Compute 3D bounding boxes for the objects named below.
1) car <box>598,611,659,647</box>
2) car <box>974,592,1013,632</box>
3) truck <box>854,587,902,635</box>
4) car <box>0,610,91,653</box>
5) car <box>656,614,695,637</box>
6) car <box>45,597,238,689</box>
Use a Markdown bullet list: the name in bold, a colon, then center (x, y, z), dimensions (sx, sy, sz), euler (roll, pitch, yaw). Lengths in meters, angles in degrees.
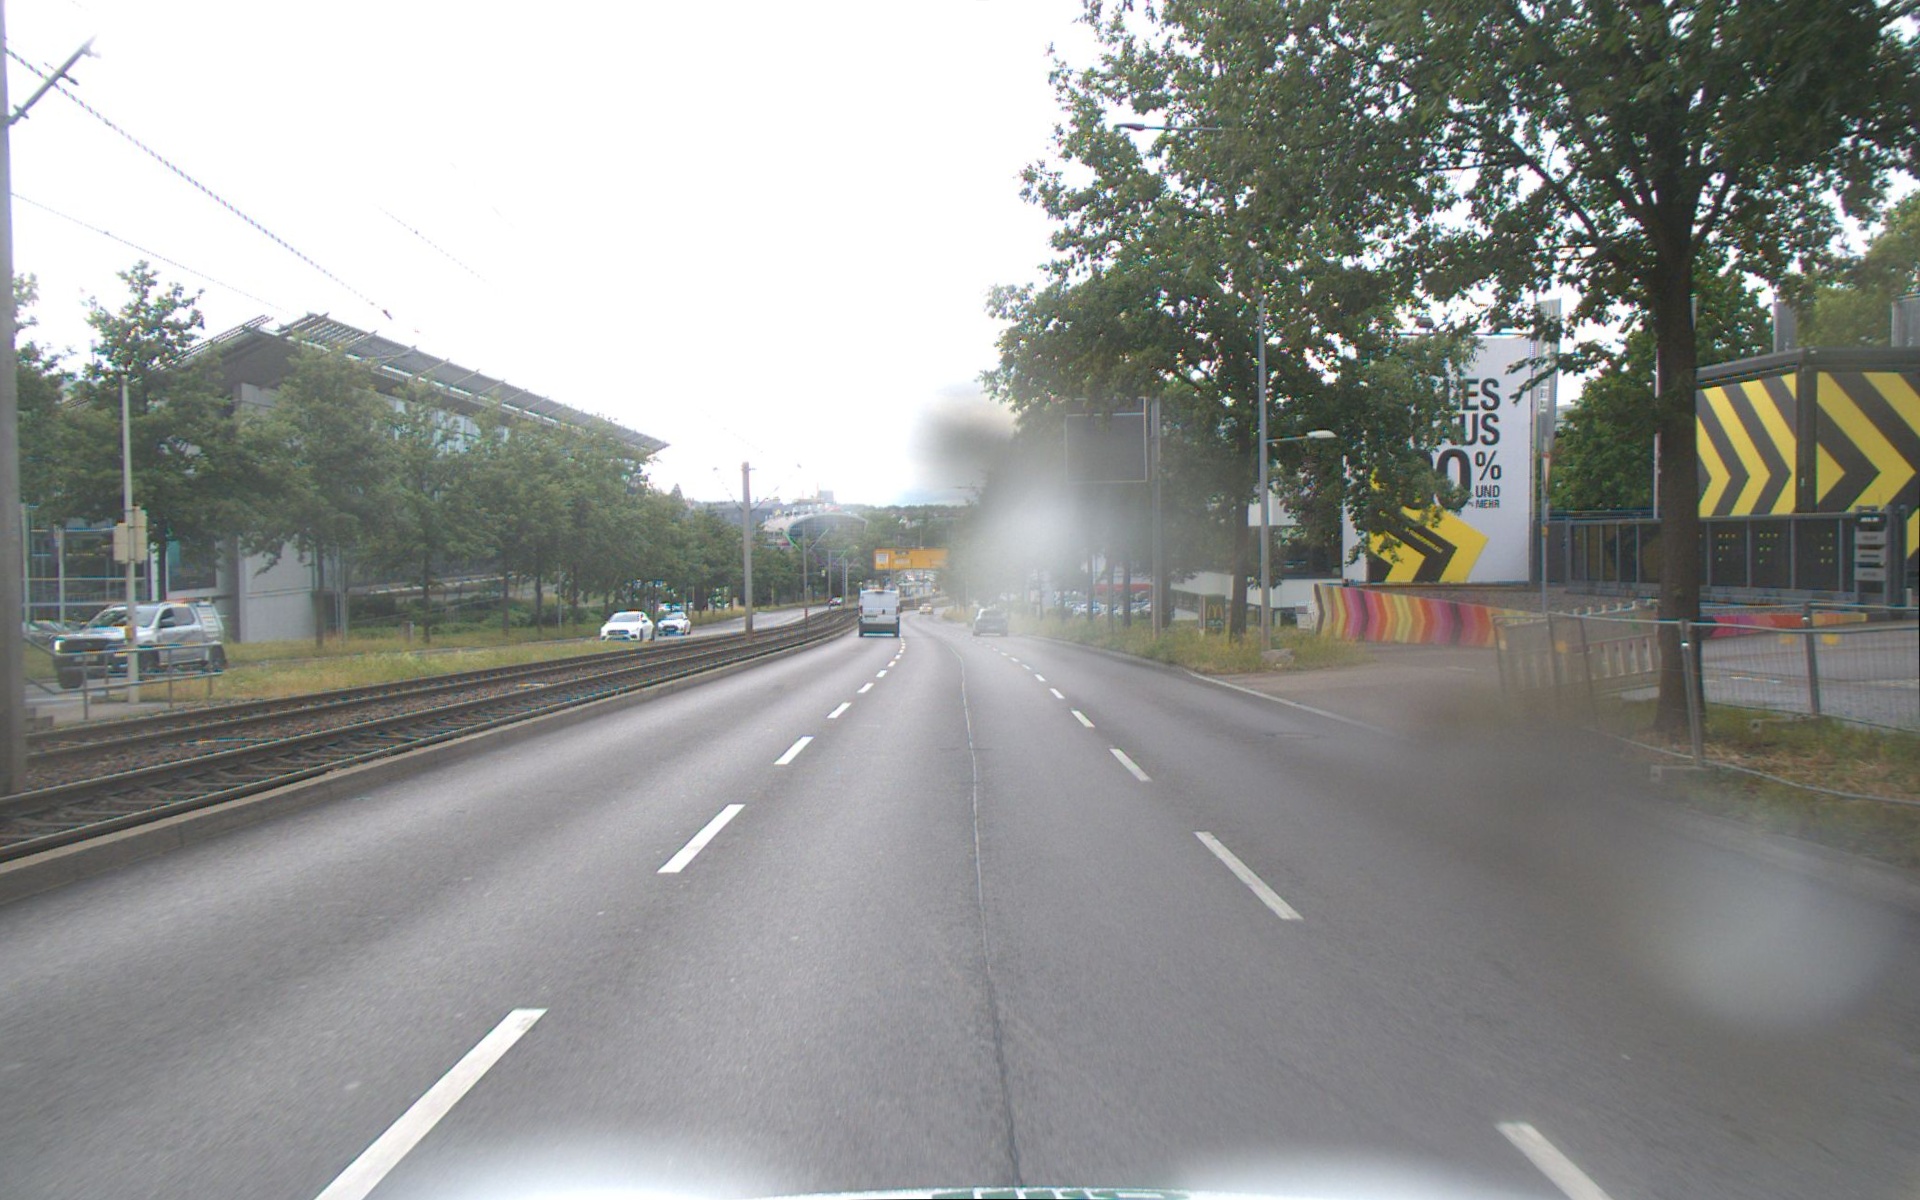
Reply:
- **car**: center (-14.931, 1.266, 74.715), dimensions (1.800, 1.469, 4.428), euler (-2, 0, 0)
- **car**: center (1.776, 0.652, 88.633), dimensions (1.953, 2.049, 3.933), euler (1, 0, -1)
- **truck**: center (-4.096, 0.550, 82.807), dimensions (2.313, 2.301, 5.302), euler (1, 0, -3)
- **car**: center (-37.662, 1.259, 67.020), dimensions (3.970, 1.646, 1.638), euler (1, -1, 1)
- **car**: center (-18.478, 1.646, 107.723), dimensions (1.842, 1.473, 4.137), euler (-1, 0, -1)
- **car**: center (-18.623, 0.915, 37.923), dimensions (1.953, 1.879, 5.001), euler (-2, 0, -1)
